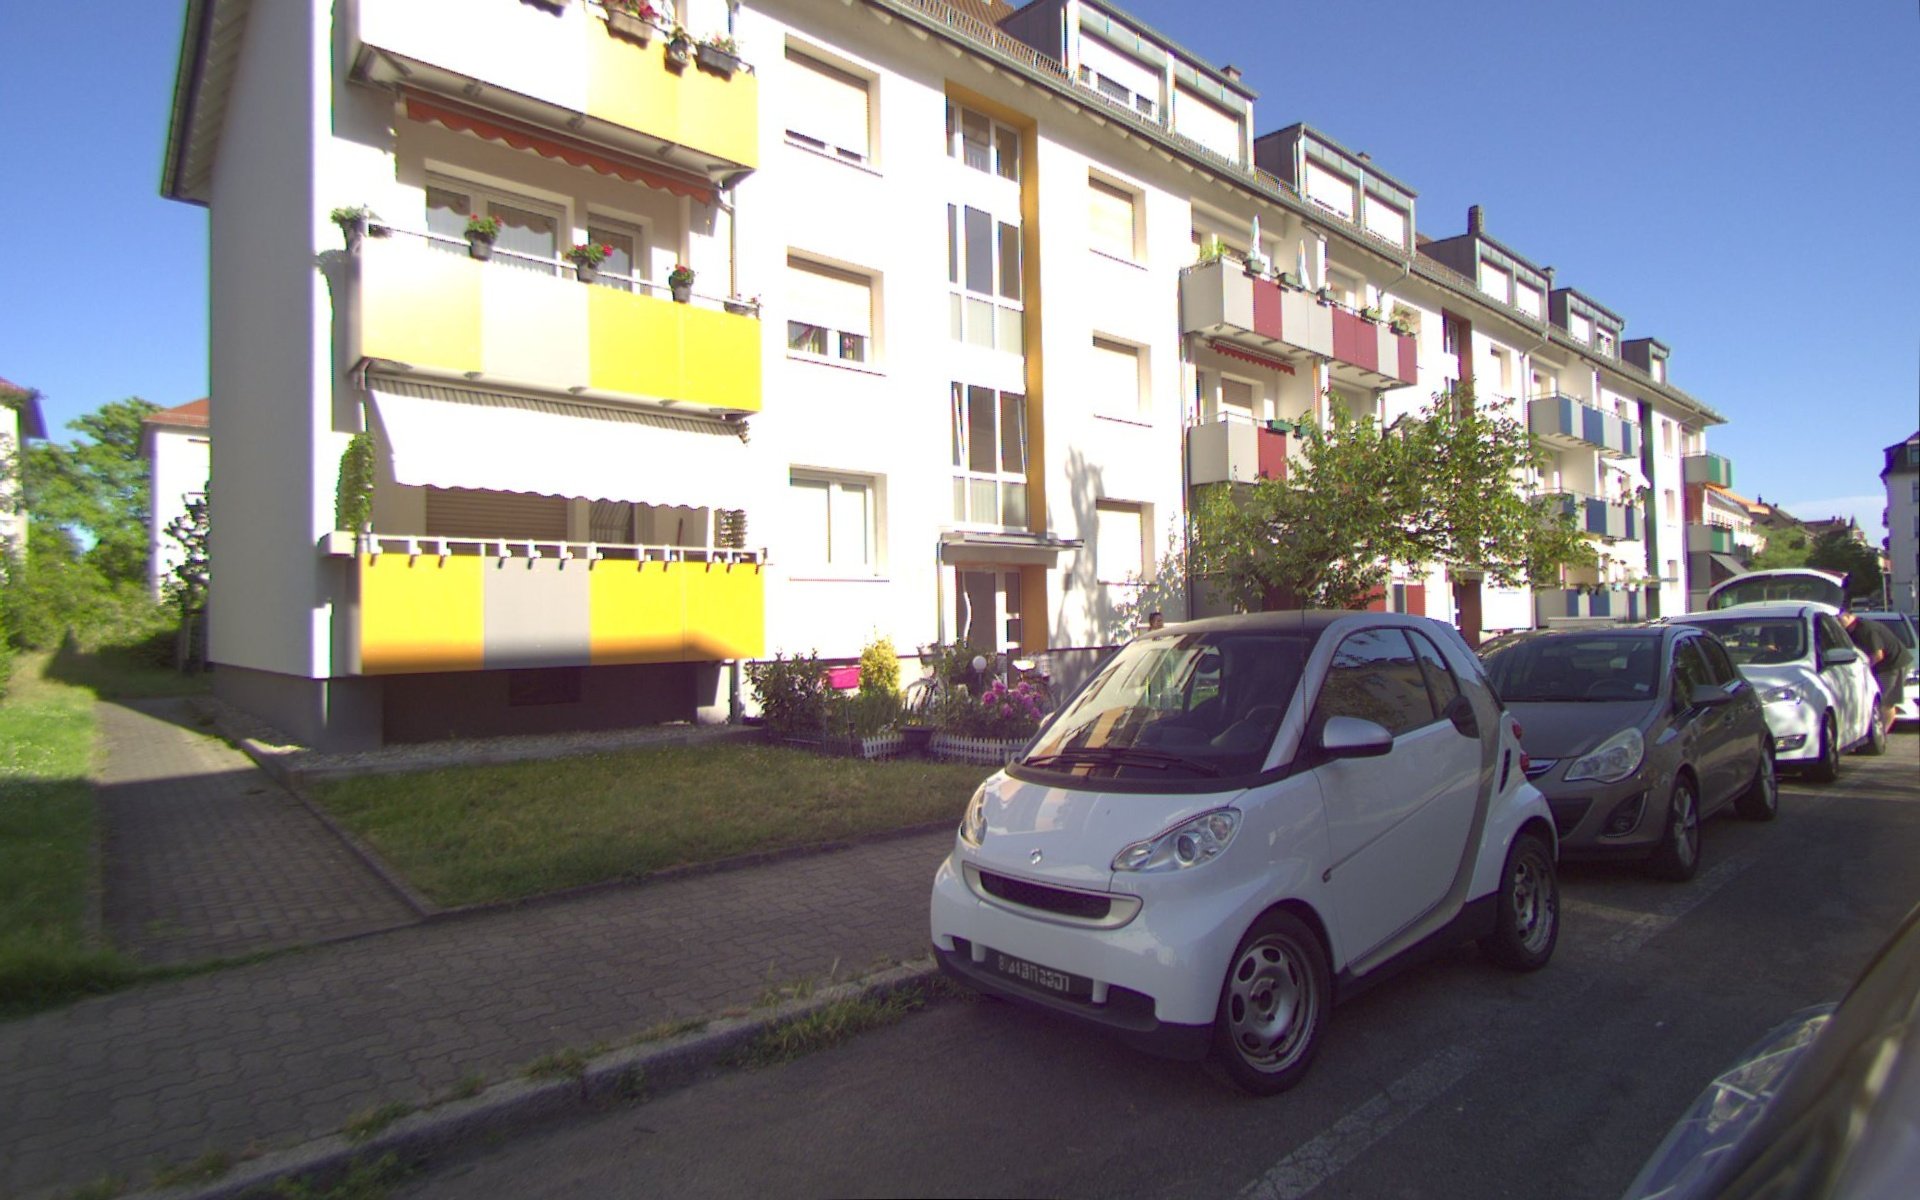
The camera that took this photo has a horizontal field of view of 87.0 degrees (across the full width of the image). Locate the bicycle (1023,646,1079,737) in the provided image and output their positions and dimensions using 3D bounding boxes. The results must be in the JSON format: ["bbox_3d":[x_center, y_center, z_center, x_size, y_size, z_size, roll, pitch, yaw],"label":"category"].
[{"bbox_3d":[1.107,1.103,12.397,0.234,1.060,0.742,1,-1,-38],"label":"bicycle"}]

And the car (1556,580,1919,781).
[{"bbox_3d":[8.330,0.727,10.562,4.905,1.634,1.997,1,-4,-39],"label":"car"}]

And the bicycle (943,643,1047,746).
[{"bbox_3d":[0.421,1.076,11.826,1.276,1.100,0.404,1,-1,-41],"label":"bicycle"}]

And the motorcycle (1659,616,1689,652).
[{"bbox_3d":[25.343,1.203,35.909,1.942,1.254,0.442,1,-1,-41],"label":"motorcycle"}]

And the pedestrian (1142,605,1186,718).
[{"bbox_3d":[2.813,0.839,13.960,0.354,1.514,0.451,-1,-1,-40],"label":"pedestrian"}]

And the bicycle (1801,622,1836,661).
[{"bbox_3d":[27.275,1.308,32.131,1.839,1.185,0.545,1,0,-40],"label":"bicycle"}]

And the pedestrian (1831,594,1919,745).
[{"bbox_3d":[10.239,0.735,11.236,0.864,1.595,0.740,1,-1,-41],"label":"pedestrian"}]

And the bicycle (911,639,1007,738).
[{"bbox_3d":[-0.001,1.079,12.656,1.250,1.147,0.403,1,-2,-41],"label":"bicycle"}]

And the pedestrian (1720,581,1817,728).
[{"bbox_3d":[9.799,0.640,12.278,0.594,1.709,0.821,1,-1,-41],"label":"pedestrian"}]

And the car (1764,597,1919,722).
[{"bbox_3d":[12.907,0.761,14.281,4.405,1.524,1.773,1,-3,-43],"label":"car"}]

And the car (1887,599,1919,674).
[{"bbox_3d":[22.294,0.785,22.759,4.278,1.599,1.725,1,-1,-42],"label":"car"}]

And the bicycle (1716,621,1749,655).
[{"bbox_3d":[26.286,1.275,34.437,1.840,1.096,0.539,1,1,-42],"label":"bicycle"}]

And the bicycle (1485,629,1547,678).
[{"bbox_3d":[13.006,1.221,23.635,2.248,1.062,0.521,1,0,-41],"label":"bicycle"}]

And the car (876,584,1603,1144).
[{"bbox_3d":[1.273,0.780,4.306,2.886,1.549,1.483,0,-4,-37],"label":"car"}]

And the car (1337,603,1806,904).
[{"bbox_3d":[4.423,0.840,7.077,3.916,1.511,1.695,1,-4,-42],"label":"car"}]

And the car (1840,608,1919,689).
[{"bbox_3d":[18.810,0.894,19.802,3.987,1.468,1.650,0,-4,-39],"label":"car"}]

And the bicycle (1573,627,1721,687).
[{"bbox_3d":[14.407,1.161,21.319,0.862,1.144,2.431,1,-1,-35],"label":"bicycle"}]

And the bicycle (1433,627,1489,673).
[{"bbox_3d":[12.250,1.203,24.725,1.940,1.050,0.521,1,-1,-41],"label":"bicycle"}]
